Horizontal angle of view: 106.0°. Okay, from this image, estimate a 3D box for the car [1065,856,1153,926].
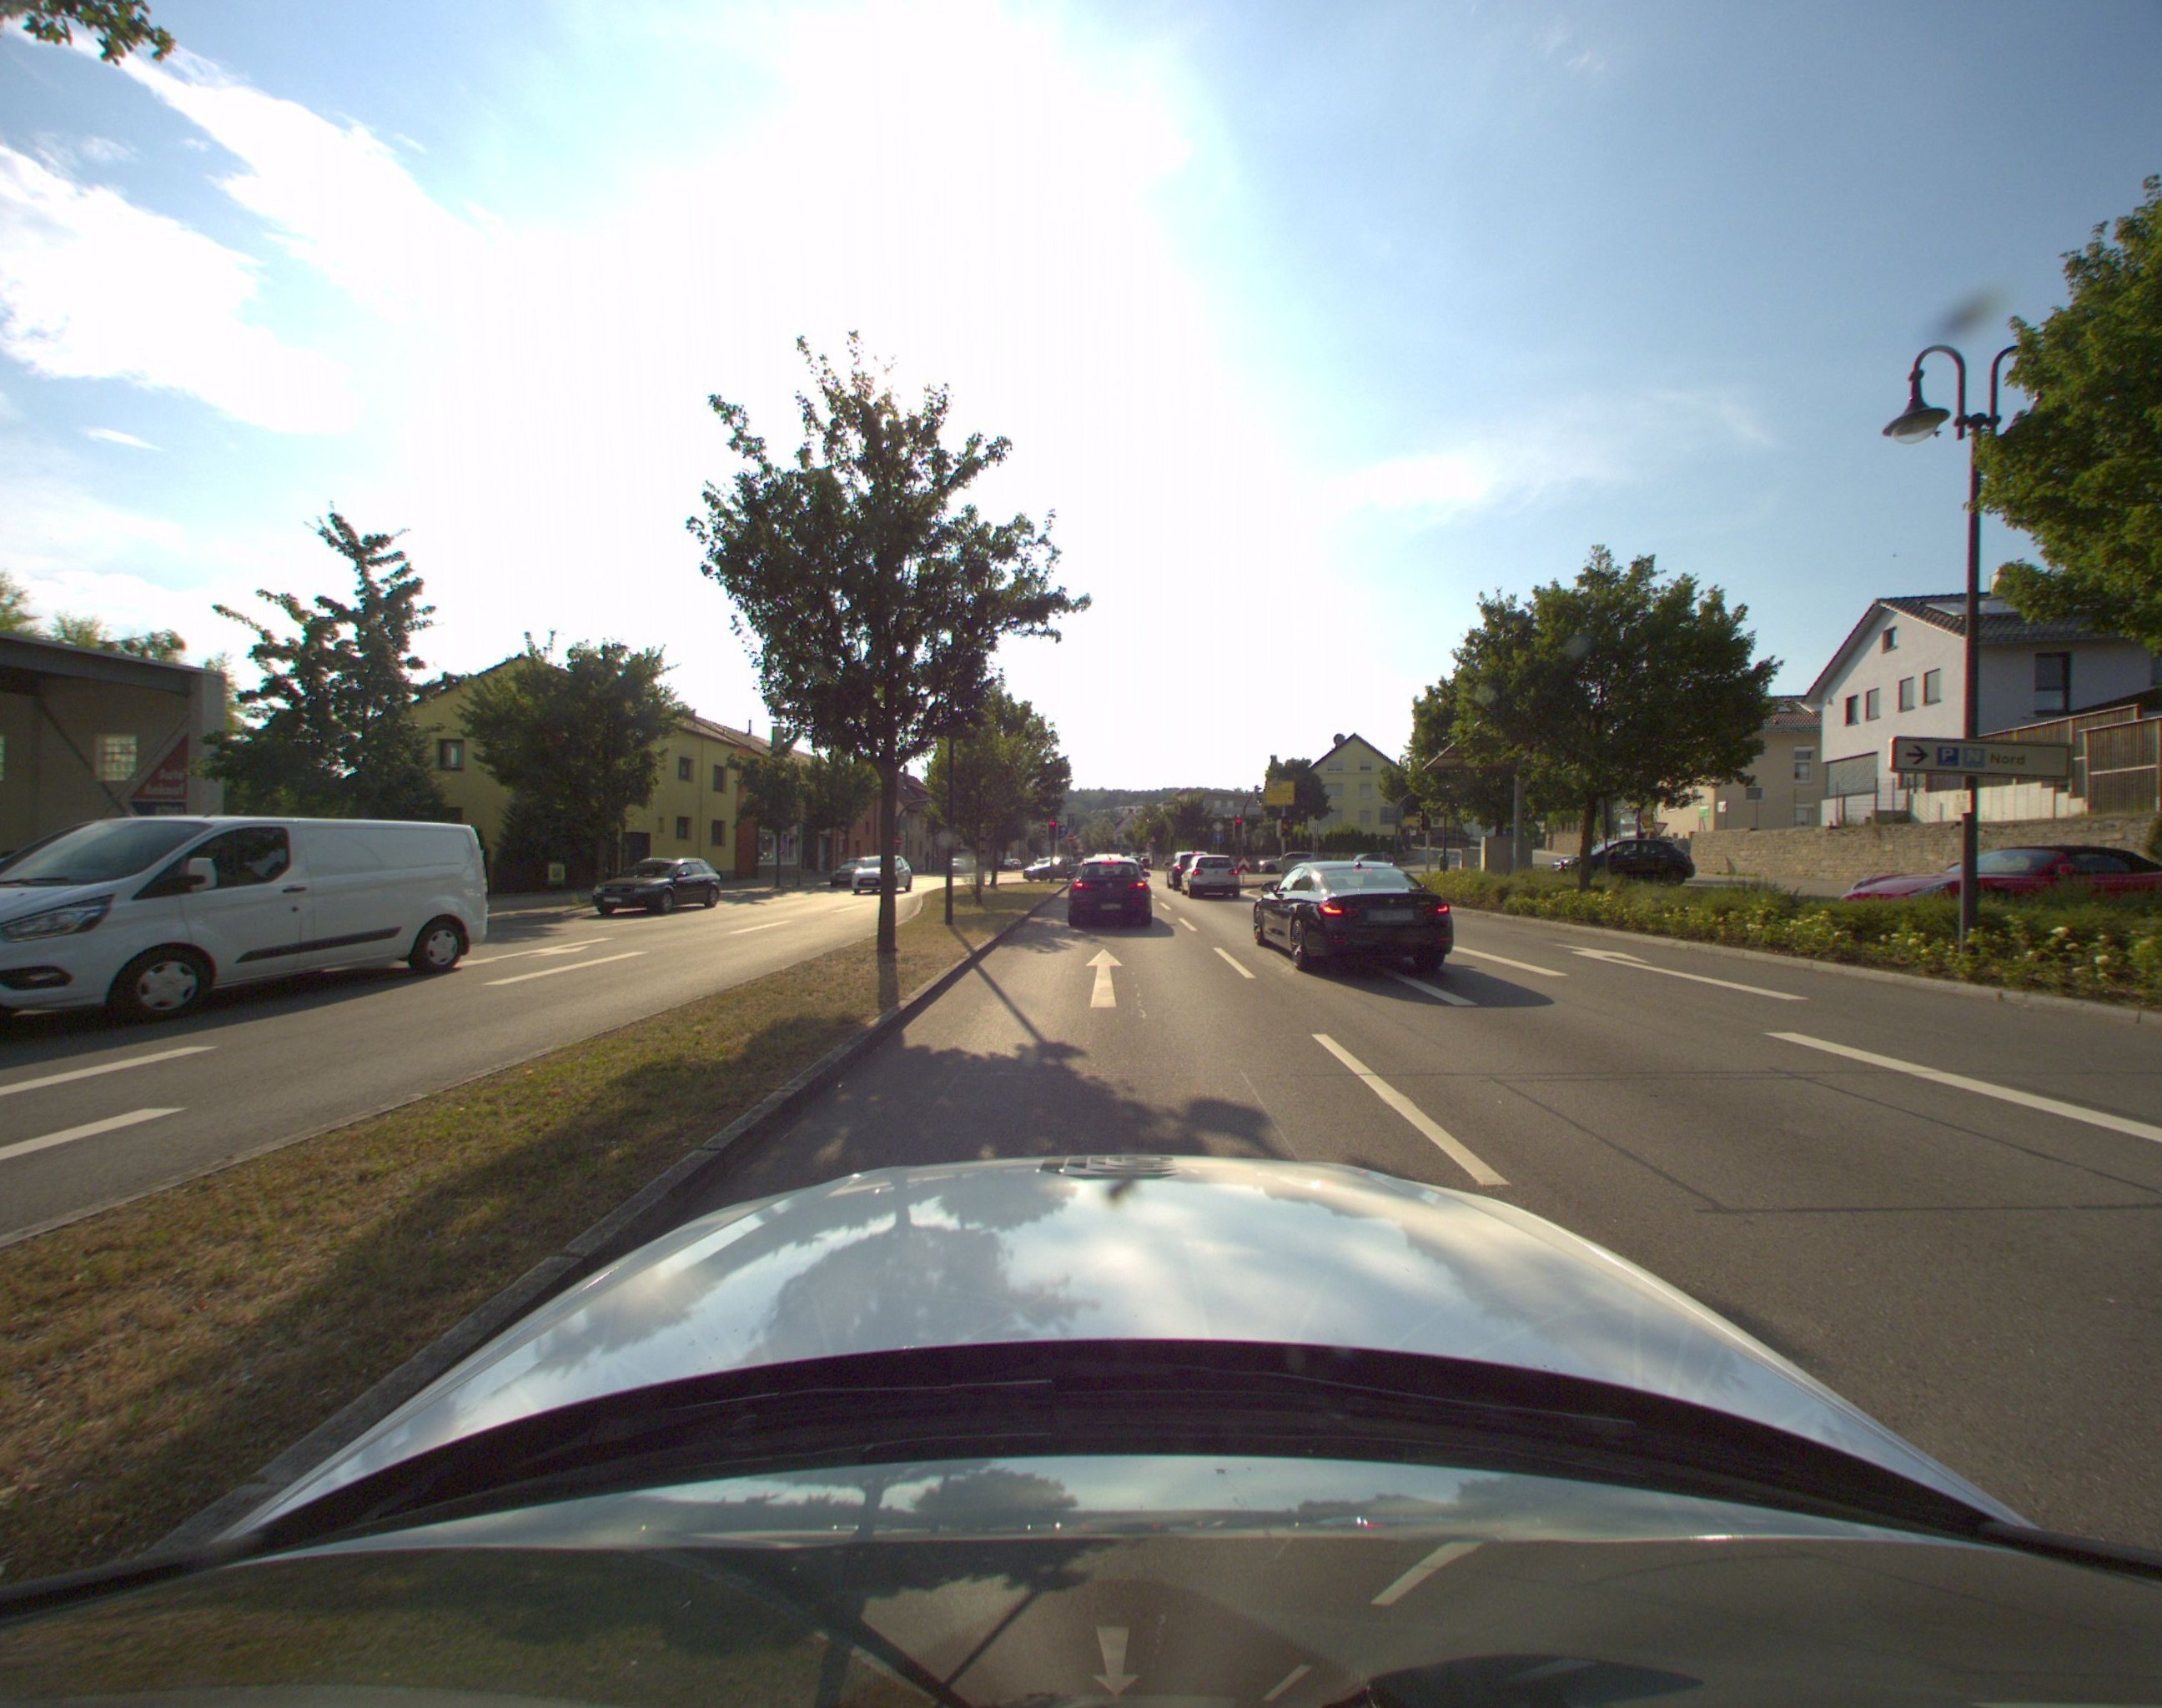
[{"bbox_3d":[0.675,0.758,18.605,1.783,1.414,4.350,0,0,3],"label":"car"}]

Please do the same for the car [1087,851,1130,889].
[{"bbox_3d":[1.288,0.684,36.635,1.809,1.641,4.244,0,0,3],"label":"car"}]

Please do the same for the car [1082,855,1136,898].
[{"bbox_3d":[1.051,0.763,29.565,1.809,1.451,4.244,0,0,3],"label":"car"}]

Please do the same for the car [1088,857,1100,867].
[{"bbox_3d":[2.188,1.370,139.083,1.916,1.596,4.003,0,0,3],"label":"car"}]

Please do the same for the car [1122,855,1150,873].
[{"bbox_3d":[5.360,0.949,79.769,1.889,1.702,4.513,-1,0,-7],"label":"car"}]

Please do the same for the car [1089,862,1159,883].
[{"bbox_3d":[3.047,1.271,58.044,4.647,1.422,1.836,0,0,-22],"label":"car"}]

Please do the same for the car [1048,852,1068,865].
[{"bbox_3d":[-2.307,0.442,82.120,1.686,1.353,4.003,0,0,3],"label":"car"}]

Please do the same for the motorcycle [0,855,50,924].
[{"bbox_3d":[-20.932,0.675,15.665,0.564,1.307,2.096,0,0,-28],"label":"motorcycle"}]

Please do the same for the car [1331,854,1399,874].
[{"bbox_3d":[19.700,0.683,56.522,4.178,1.386,1.644,0,0,-11],"label":"car"}]

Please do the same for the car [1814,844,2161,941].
[{"bbox_3d":[13.590,0.512,11.853,3.962,1.272,1.859,0,0,10],"label":"car"}]

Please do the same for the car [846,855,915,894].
[{"bbox_3d":[-8.204,0.807,33.636,1.795,1.497,3.956,0,0,1],"label":"car"}]

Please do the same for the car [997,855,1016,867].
[{"bbox_3d":[-10.286,0.948,112.671,1.916,1.596,4.003,0,0,3],"label":"car"}]

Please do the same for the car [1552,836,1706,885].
[{"bbox_3d":[18.617,0.217,27.859,3.959,1.608,1.861,0,0,13],"label":"car"}]

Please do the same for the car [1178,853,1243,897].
[{"bbox_3d":[4.528,0.705,28.994,1.809,1.446,4.350,0,0,3],"label":"car"}]

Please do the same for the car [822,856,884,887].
[{"bbox_3d":[-11.527,0.848,41.509,1.680,1.462,4.713,0,0,2],"label":"car"}]

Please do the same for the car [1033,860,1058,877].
[{"bbox_3d":[-3.053,1.232,70.266,1.759,1.458,4.003,0,0,3],"label":"car"}]

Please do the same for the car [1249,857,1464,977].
[{"bbox_3d":[3.652,0.739,11.657,1.809,1.388,4.350,0,0,3],"label":"car"}]

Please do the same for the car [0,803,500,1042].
[{"bbox_3d":[-9.242,0.557,9.046,1.815,1.923,4.949,0,0,3],"label":"car"}]

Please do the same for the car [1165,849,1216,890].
[{"bbox_3d":[4.714,0.637,35.536,1.809,1.666,4.350,0,0,3],"label":"car"}]

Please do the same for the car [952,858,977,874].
[{"bbox_3d":[-12.499,1.279,87.887,1.916,1.596,4.003,0,0,3],"label":"car"}]

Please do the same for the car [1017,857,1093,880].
[{"bbox_3d":[-1.620,0.893,50.788,4.493,1.349,1.768,0,0,-31],"label":"car"}]

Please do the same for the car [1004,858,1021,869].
[{"bbox_3d":[-9.911,1.332,118.167,1.916,1.596,4.003,0,0,3],"label":"car"}]

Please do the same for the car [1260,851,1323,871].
[{"bbox_3d":[16.283,0.536,63.206,4.613,1.485,1.874,0,0,11],"label":"car"}]

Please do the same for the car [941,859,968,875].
[{"bbox_3d":[-12.762,1.327,82.620,1.916,1.596,4.003,0,0,3],"label":"car"}]

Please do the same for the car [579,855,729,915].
[{"bbox_3d":[-11.635,0.791,22.548,1.800,1.497,4.247,0,0,2],"label":"car"}]

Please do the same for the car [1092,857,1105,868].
[{"bbox_3d":[2.723,1.305,125.174,1.917,1.596,4.001,0,0,1],"label":"car"}]
